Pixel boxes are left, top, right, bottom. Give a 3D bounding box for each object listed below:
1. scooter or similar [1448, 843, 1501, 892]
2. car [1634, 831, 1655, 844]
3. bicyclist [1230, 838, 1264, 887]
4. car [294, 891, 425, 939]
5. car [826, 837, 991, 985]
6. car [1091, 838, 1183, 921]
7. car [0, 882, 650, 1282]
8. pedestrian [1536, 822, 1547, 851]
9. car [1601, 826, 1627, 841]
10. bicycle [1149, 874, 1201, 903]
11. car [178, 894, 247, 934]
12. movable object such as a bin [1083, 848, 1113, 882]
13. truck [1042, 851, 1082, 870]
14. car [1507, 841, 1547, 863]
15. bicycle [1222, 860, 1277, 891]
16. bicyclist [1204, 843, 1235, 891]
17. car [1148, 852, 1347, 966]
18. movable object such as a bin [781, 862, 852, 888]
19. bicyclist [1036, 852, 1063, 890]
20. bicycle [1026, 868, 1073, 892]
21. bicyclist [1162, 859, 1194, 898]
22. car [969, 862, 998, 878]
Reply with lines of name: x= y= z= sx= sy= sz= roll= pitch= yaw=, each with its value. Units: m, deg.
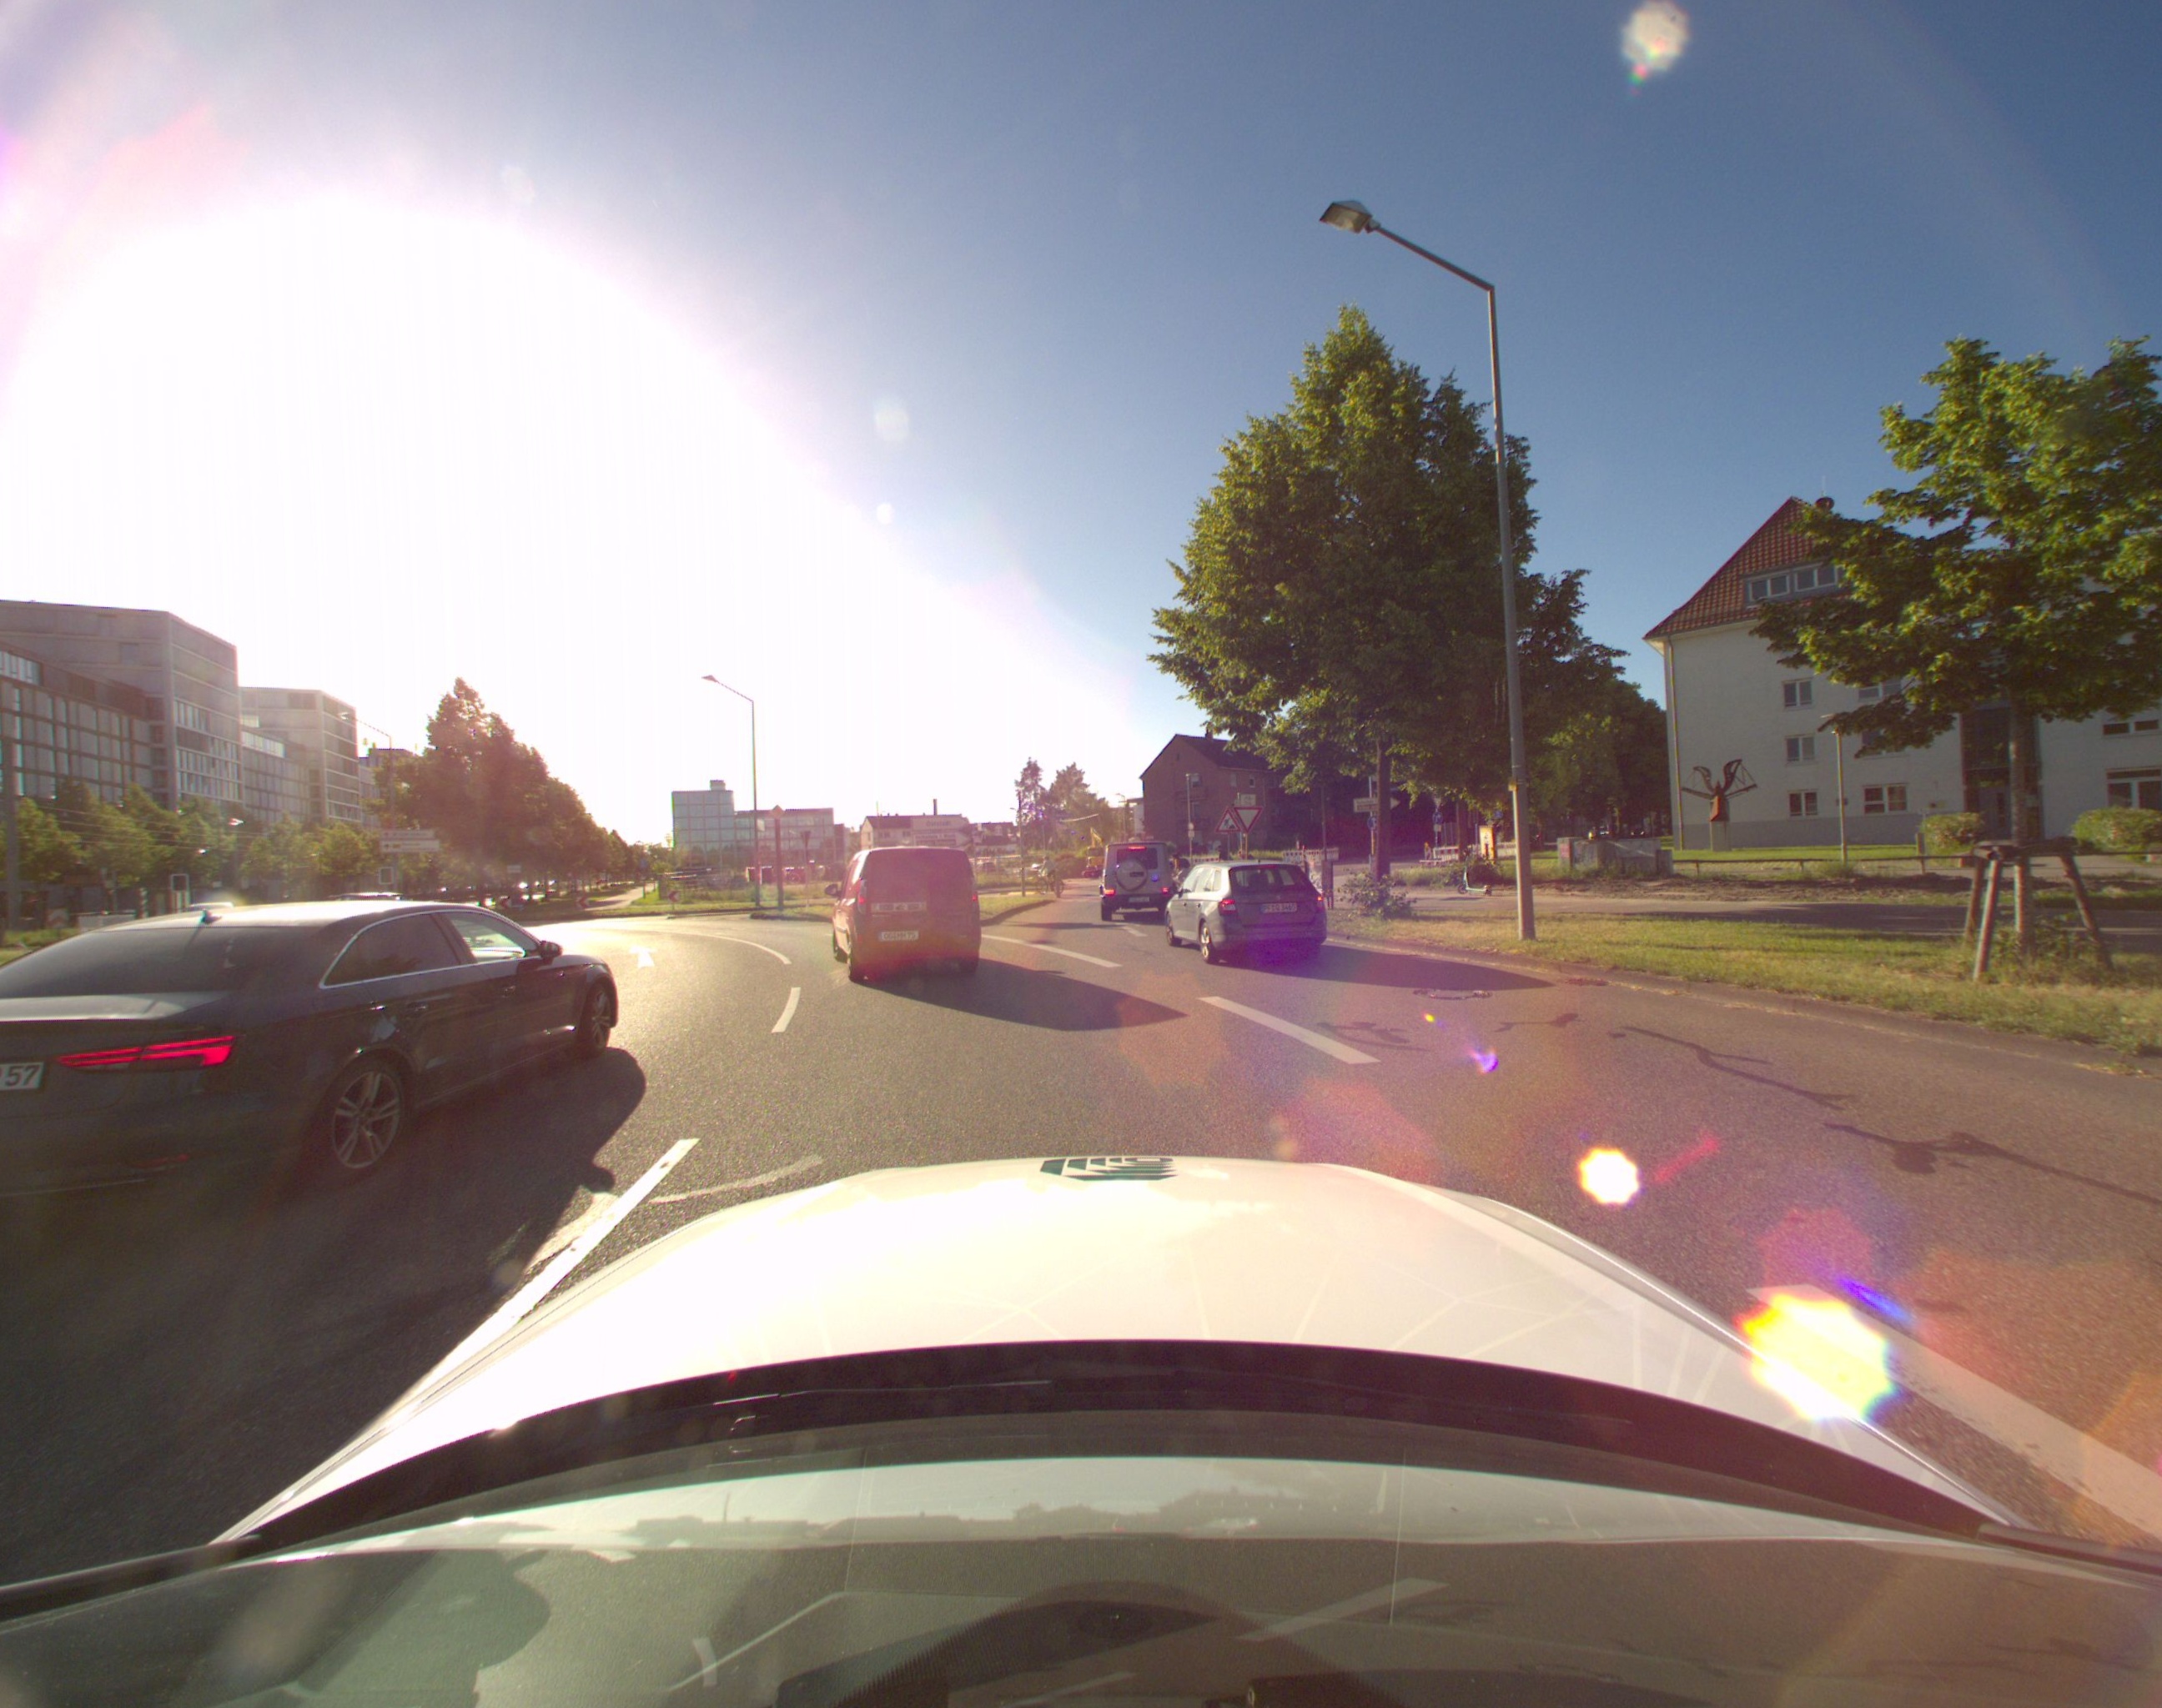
scooter or similar: x=10.448 y=0.365 z=21.665 sx=0.445 sy=1.248 sz=1.254 roll=0 pitch=-2 yaw=-24
car: x=89.604 y=-2.623 z=129.410 sx=4.023 sy=1.871 sz=1.975 roll=0 pitch=-1 yaw=-44
bicyclist: x=5.729 y=0.298 z=28.111 sx=0.663 sy=1.665 sz=0.889 roll=0 pitch=-1 yaw=-40
car: x=-24.694 y=2.035 z=27.879 sx=3.764 sy=1.461 sz=1.818 roll=-1 pitch=0 yaw=21
car: x=-2.757 y=0.739 z=12.328 sx=1.809 sy=1.813 sz=3.782 roll=-2 pitch=0 yaw=-21
car: x=1.363 y=0.637 z=21.930 sx=1.991 sy=1.897 sz=4.750 roll=-2 pitch=-1 yaw=-1
car: x=-4.597 y=0.958 z=5.227 sx=1.759 sy=1.380 sz=4.347 roll=-2 pitch=0 yaw=-7
pedestrian: x=32.384 y=-1.227 z=57.234 sx=0.457 sy=2.013 sz=0.466 roll=-3 pitch=0 yaw=-37
car: x=70.891 y=-2.657 z=108.258 sx=4.023 sy=1.871 sz=1.975 roll=0 pitch=-1 yaw=-44
bicycle: x=3.424 y=1.257 z=29.777 sx=1.801 sy=1.028 sz=0.664 roll=-3 pitch=-2 yaw=43
car: x=-39.873 y=2.704 z=37.415 sx=4.352 sy=1.575 sz=2.012 roll=-3 pitch=0 yaw=43
movable object such as a bin: x=1.412 y=0.901 z=68.937 sx=2.412 sy=2.773 sz=3.998 roll=-1 pitch=-1 yaw=-1
truck: x=-2.106 y=0.711 z=88.395 sx=2.174 sy=2.014 sz=6.385 roll=-1 pitch=-1 yaw=-23
car: x=39.806 y=-0.145 z=72.607 sx=4.023 sy=1.871 sz=1.975 roll=0 pitch=-1 yaw=-44
bicycle: x=5.785 y=0.735 z=28.047 sx=0.663 sy=1.028 sz=1.802 roll=0 pitch=-1 yaw=-40
bicyclist: x=5.142 y=0.498 z=30.284 sx=0.658 sy=1.730 sz=0.803 roll=-2 pitch=-2 yaw=-41
car: x=2.387 y=0.752 z=12.824 sx=1.713 sy=1.436 sz=4.139 roll=-2 pitch=-1 yaw=-9
movable object such as a bin: x=-32.470 y=2.580 z=100.068 sx=7.944 sy=2.782 sz=2.920 roll=-2 pitch=0 yaw=-24
bicyclist: x=-1.420 y=0.769 z=36.767 sx=0.843 sy=1.680 sz=0.747 roll=-2 pitch=2 yaw=32
bicycle: x=-1.420 y=1.177 z=36.808 sx=1.984 sy=1.027 sz=0.747 roll=-2 pitch=2 yaw=32
bicyclist: x=3.536 y=0.898 z=29.686 sx=0.923 sy=1.385 sz=0.664 roll=-2 pitch=-2 yaw=42
car: x=-12.130 y=1.976 z=101.068 sx=2.006 sy=2.014 sz=4.455 roll=0 pitch=-1 yaw=-30
